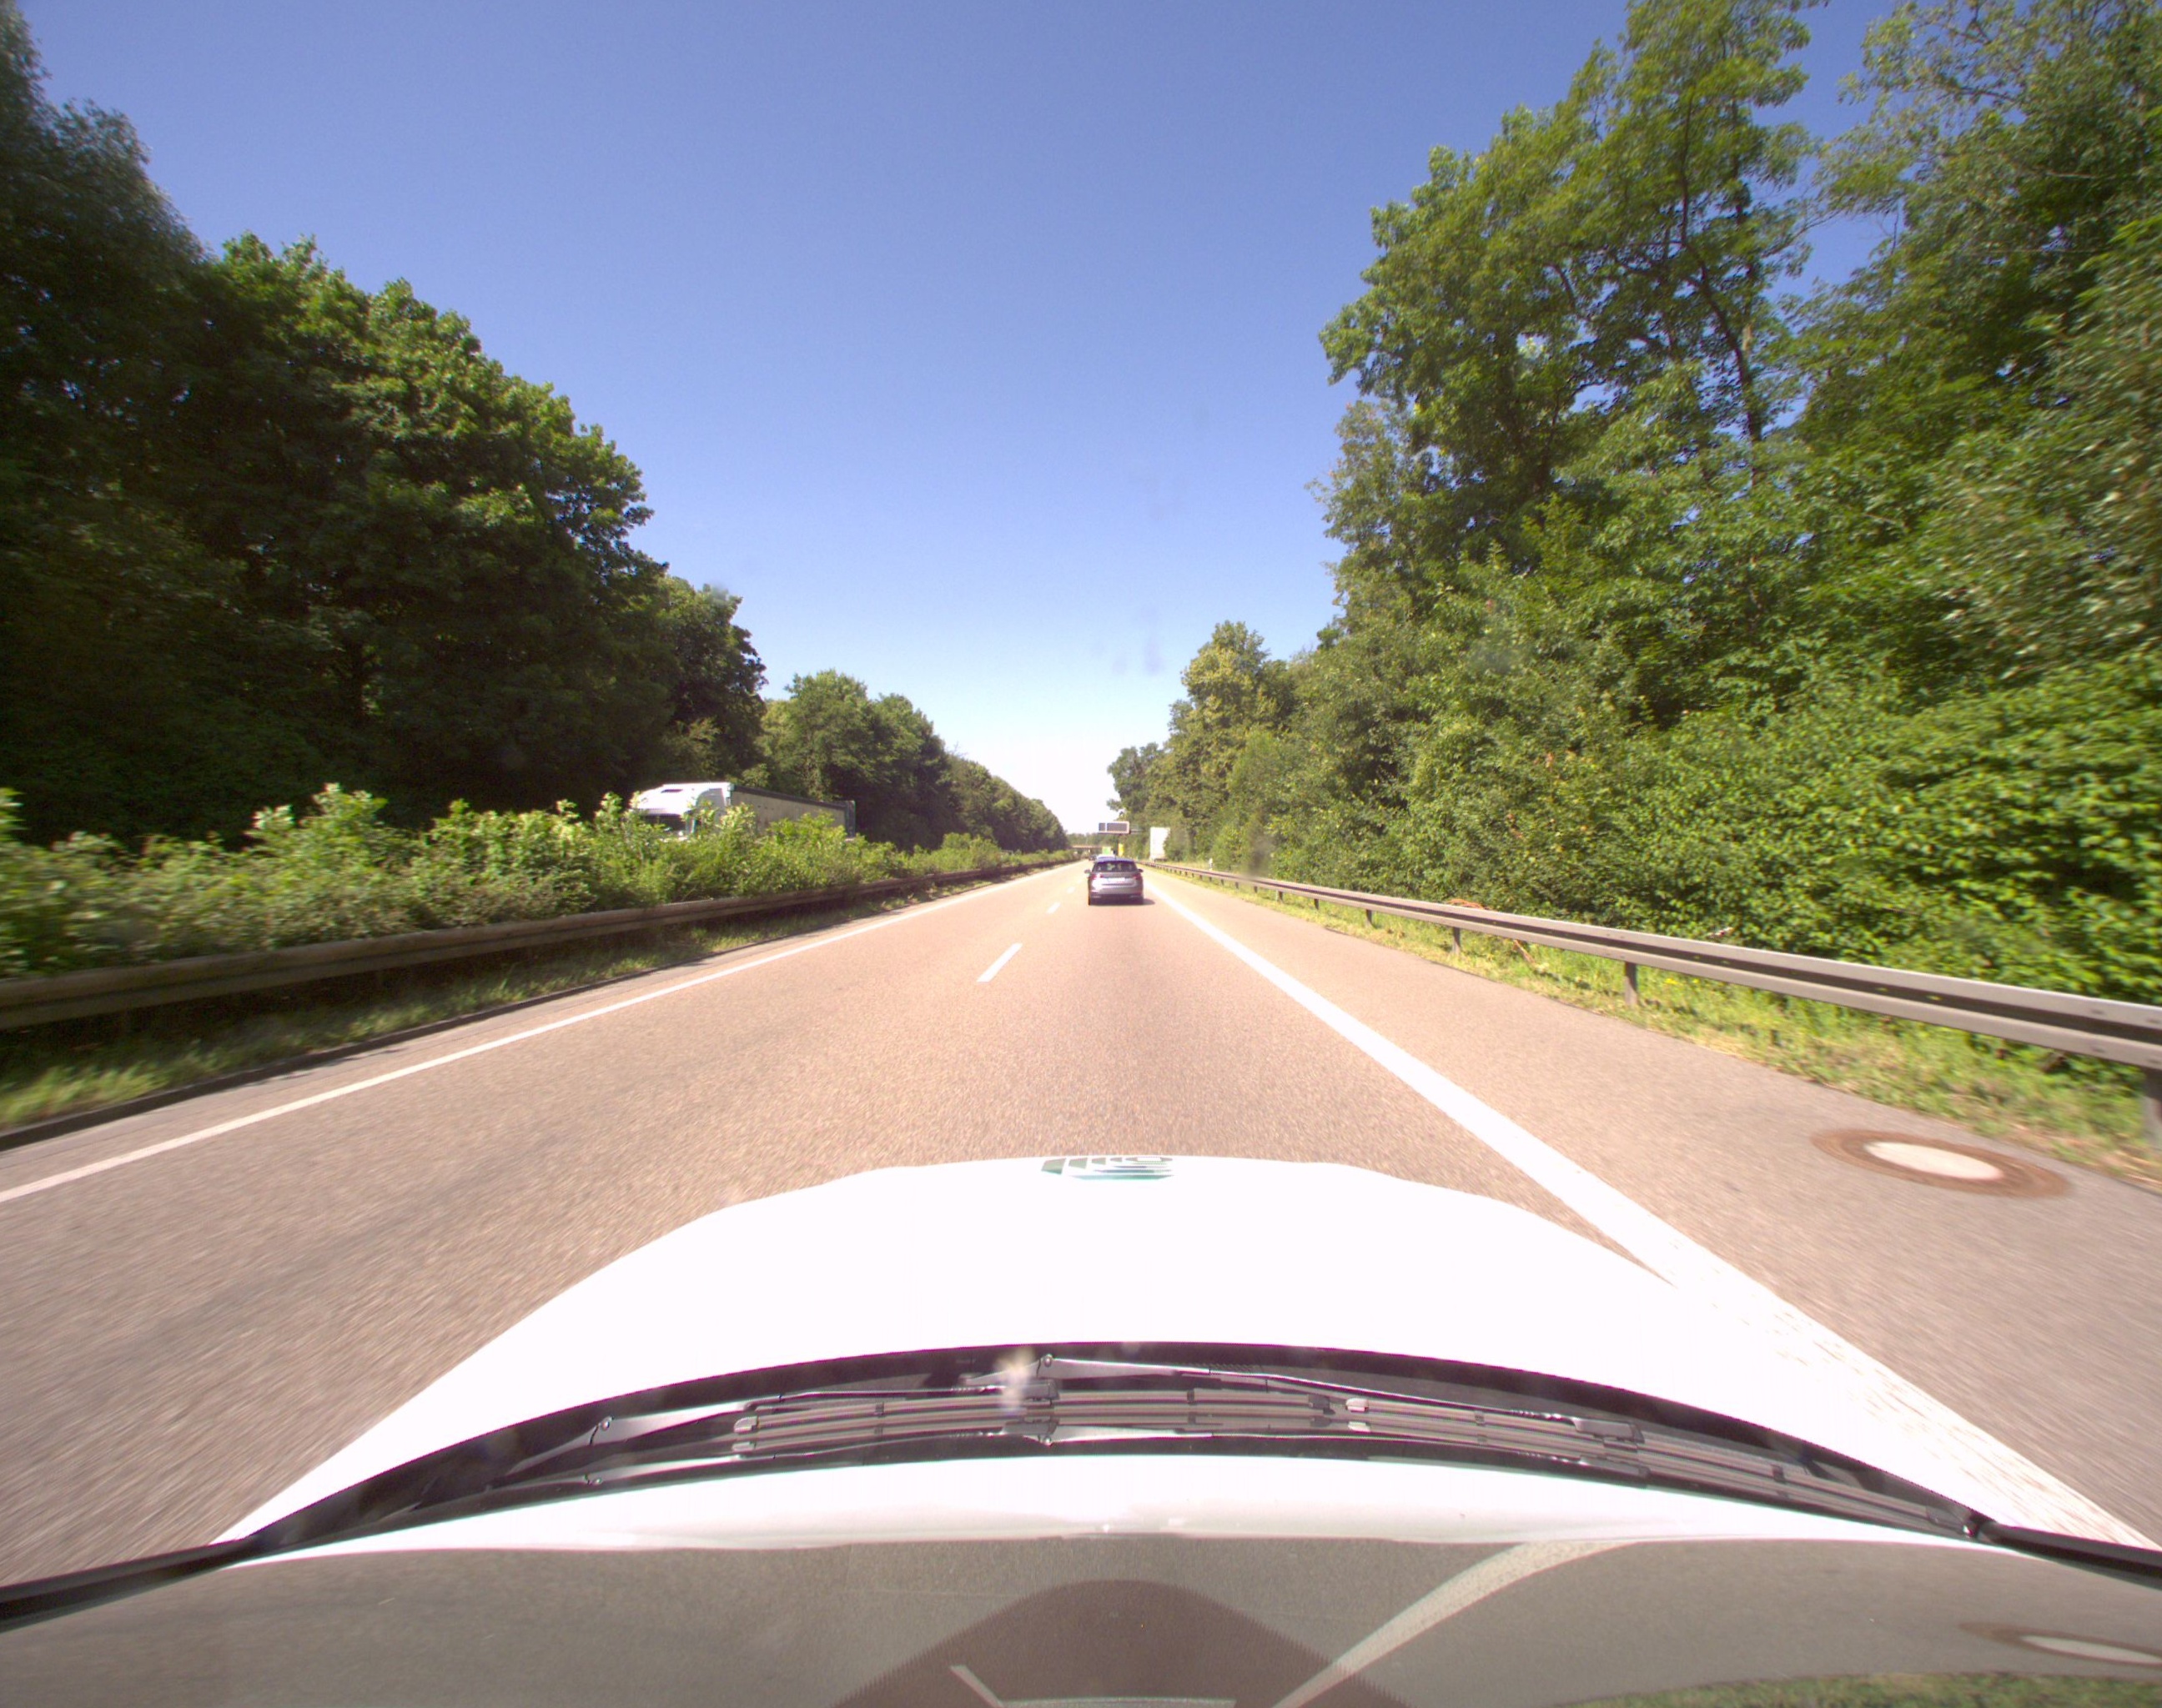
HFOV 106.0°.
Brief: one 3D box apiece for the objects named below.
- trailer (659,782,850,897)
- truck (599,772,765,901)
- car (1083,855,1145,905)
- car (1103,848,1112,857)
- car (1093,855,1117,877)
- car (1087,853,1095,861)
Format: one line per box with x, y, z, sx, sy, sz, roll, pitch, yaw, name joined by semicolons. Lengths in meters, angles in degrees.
-14.157;-0.461;37.280;2.818;4.300;13.669;0;-1;2;trailer
-14.346;-0.546;29.967;2.707;4.244;6.539;0;-1;2;truck
1.090;0.777;25.752;1.832;1.472;3.627;0;0;3;car
8.250;-0.452;252.158;2.738;2.654;4.002;0;-1;2;car
1.697;0.809;56.874;1.516;1.446;3.343;0;0;3;car
2.740;0.809;221.208;1.986;2.014;4.002;0;-1;2;car
